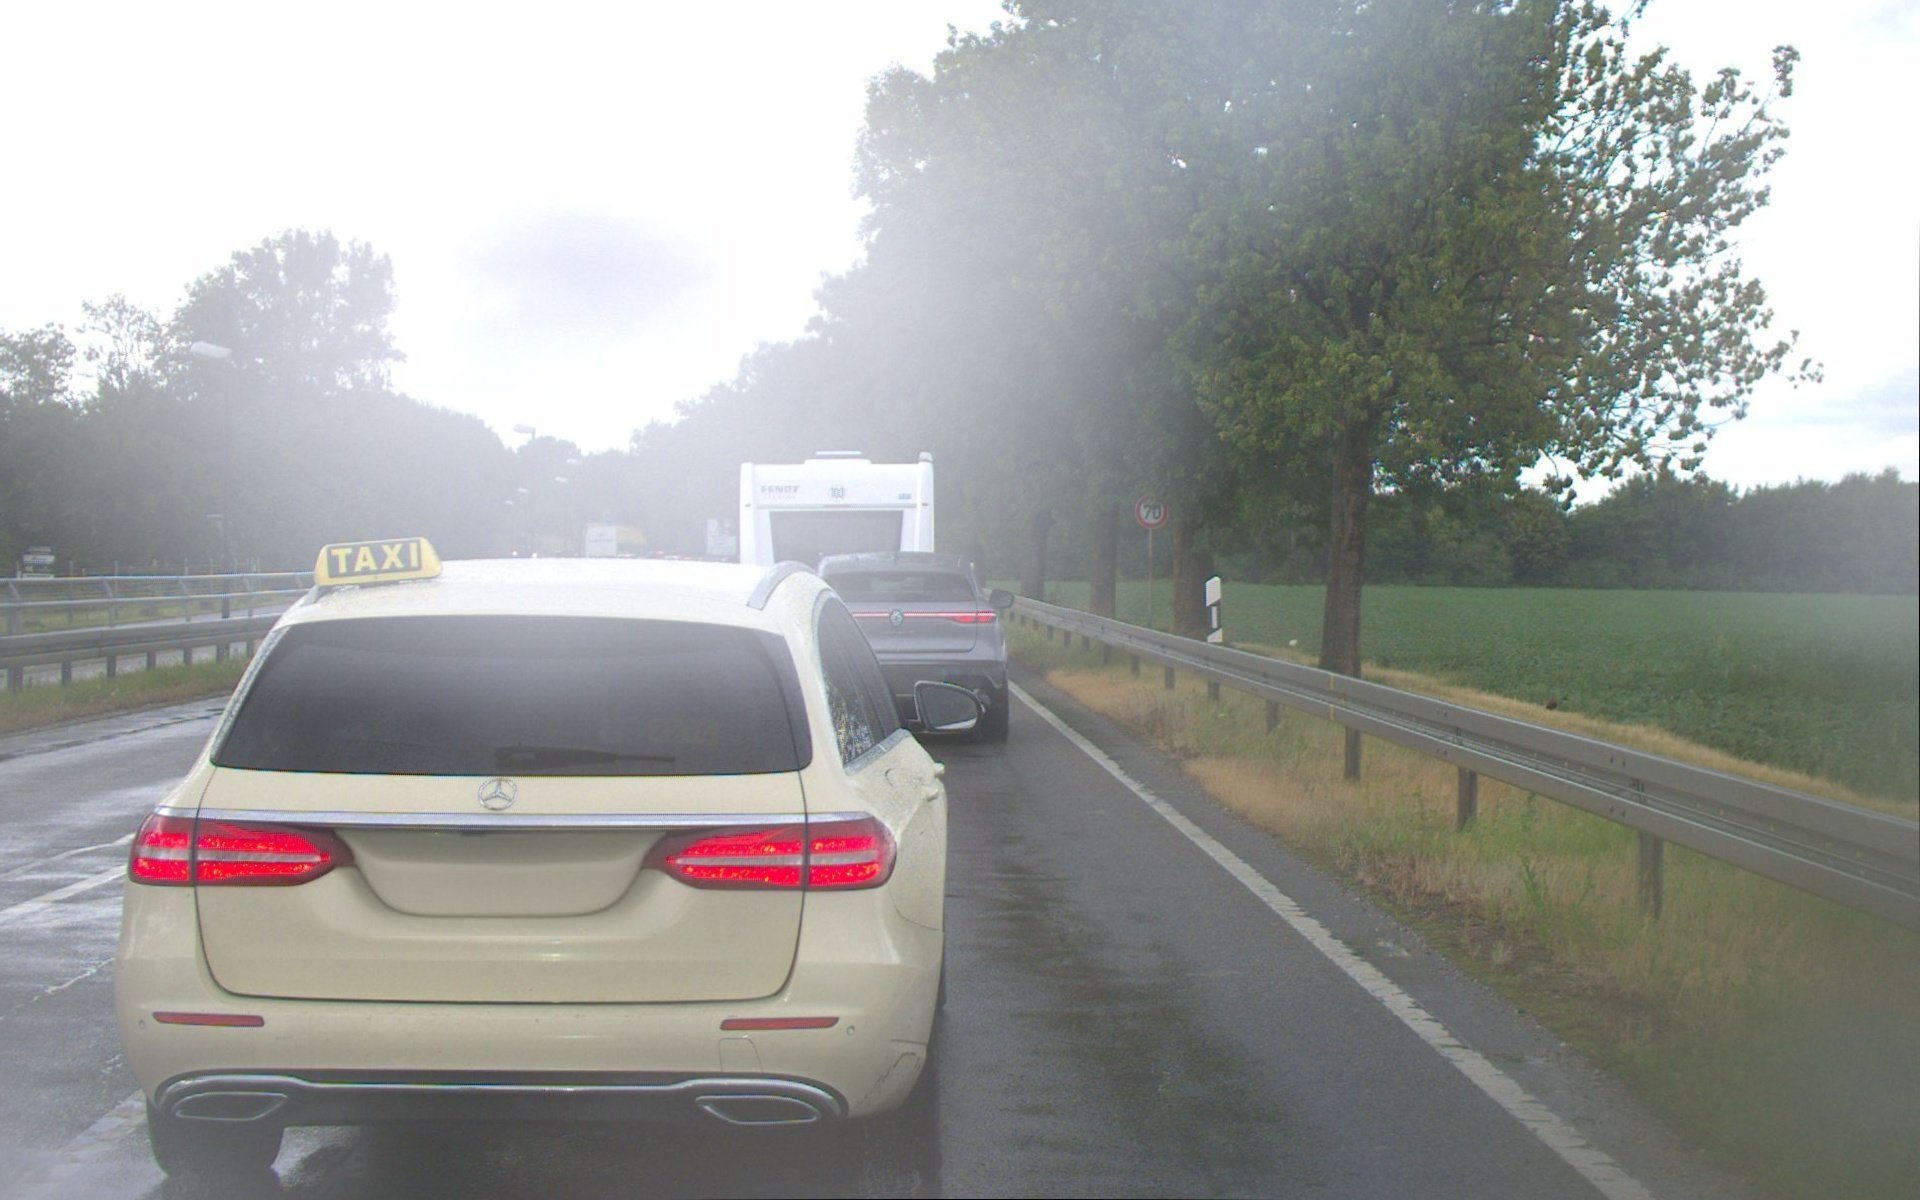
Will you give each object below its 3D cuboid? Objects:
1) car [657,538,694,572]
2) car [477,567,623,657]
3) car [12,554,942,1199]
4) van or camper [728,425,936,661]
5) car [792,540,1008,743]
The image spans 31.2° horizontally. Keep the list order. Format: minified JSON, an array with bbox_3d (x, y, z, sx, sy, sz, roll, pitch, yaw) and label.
[{"bbox_3d":[-17.302,-2.739,209.011,1.993,2.044,4.000,1,1,-2],"label":"car"},{"bbox_3d":[-6.145,0.155,51.864,1.758,1.265,4.000,1,1,-1],"label":"car"},{"bbox_3d":[-0.985,0.621,9.001,1.825,1.480,4.145,0,1,0],"label":"car"},{"bbox_3d":[-1.501,-0.717,42.362,2.350,2.671,5.769,1,1,-1],"label":"van or camper"},{"bbox_3d":[-0.481,0.280,28.160,1.627,1.524,3.933,1,1,-1],"label":"car"}]
